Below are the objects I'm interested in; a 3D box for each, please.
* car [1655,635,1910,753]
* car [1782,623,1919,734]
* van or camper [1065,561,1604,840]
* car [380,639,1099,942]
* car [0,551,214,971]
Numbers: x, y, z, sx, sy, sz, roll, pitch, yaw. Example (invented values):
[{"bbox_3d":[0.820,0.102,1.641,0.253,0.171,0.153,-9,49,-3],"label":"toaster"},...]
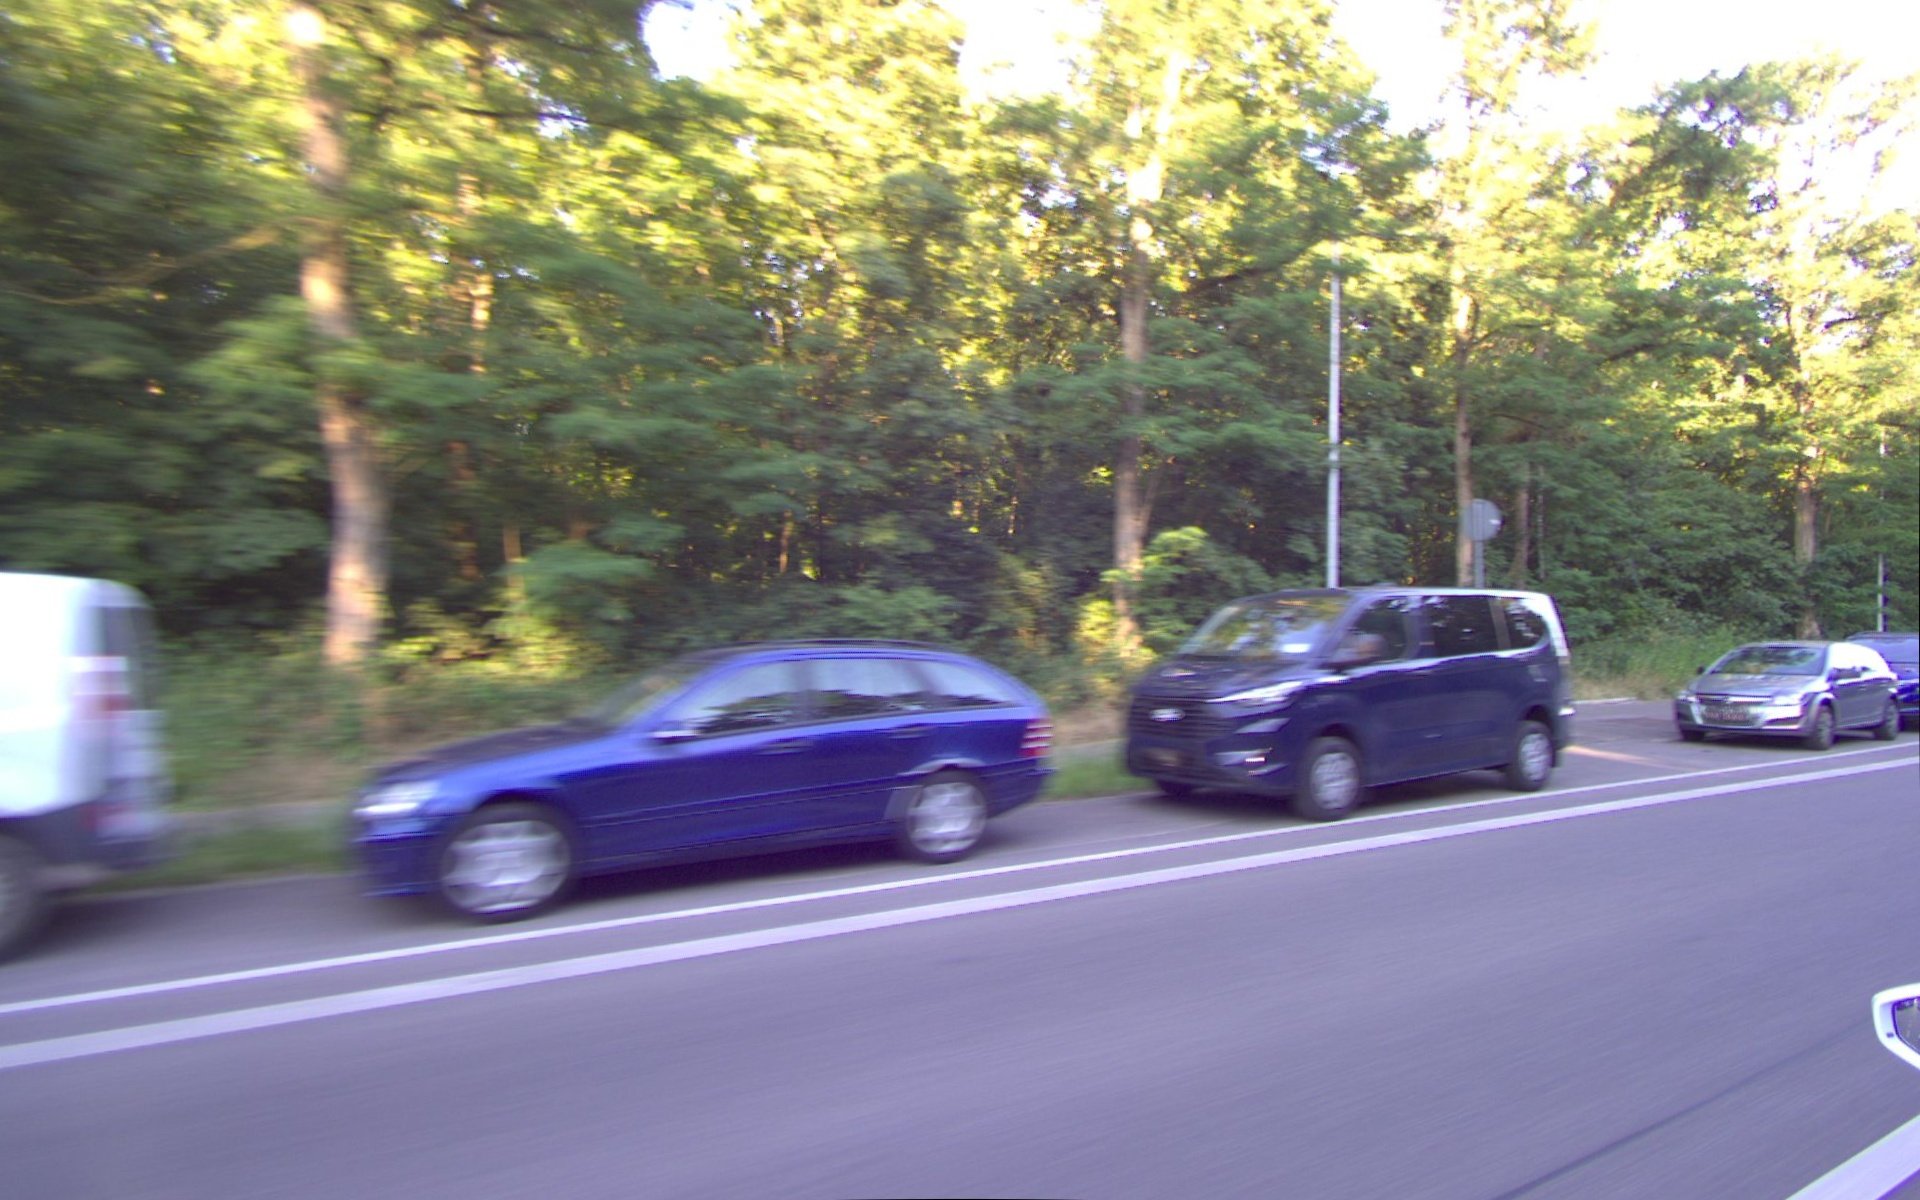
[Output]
[{"bbox_3d":[12.225,1.300,14.874,4.199,1.521,1.660,1,-3,-32],"label":"car"},{"bbox_3d":[16.387,1.304,17.593,4.473,1.734,1.736,1,-3,-32],"label":"car"},{"bbox_3d":[3.766,0.840,9.697,5.401,2.044,1.992,1,-4,-32],"label":"van or camper"},{"bbox_3d":[-1.324,0.997,6.716,4.395,1.451,1.662,1,-3,-31],"label":"car"},{"bbox_3d":[-6.056,0.734,4.383,4.340,1.882,1.678,1,-4,-33],"label":"car"}]
